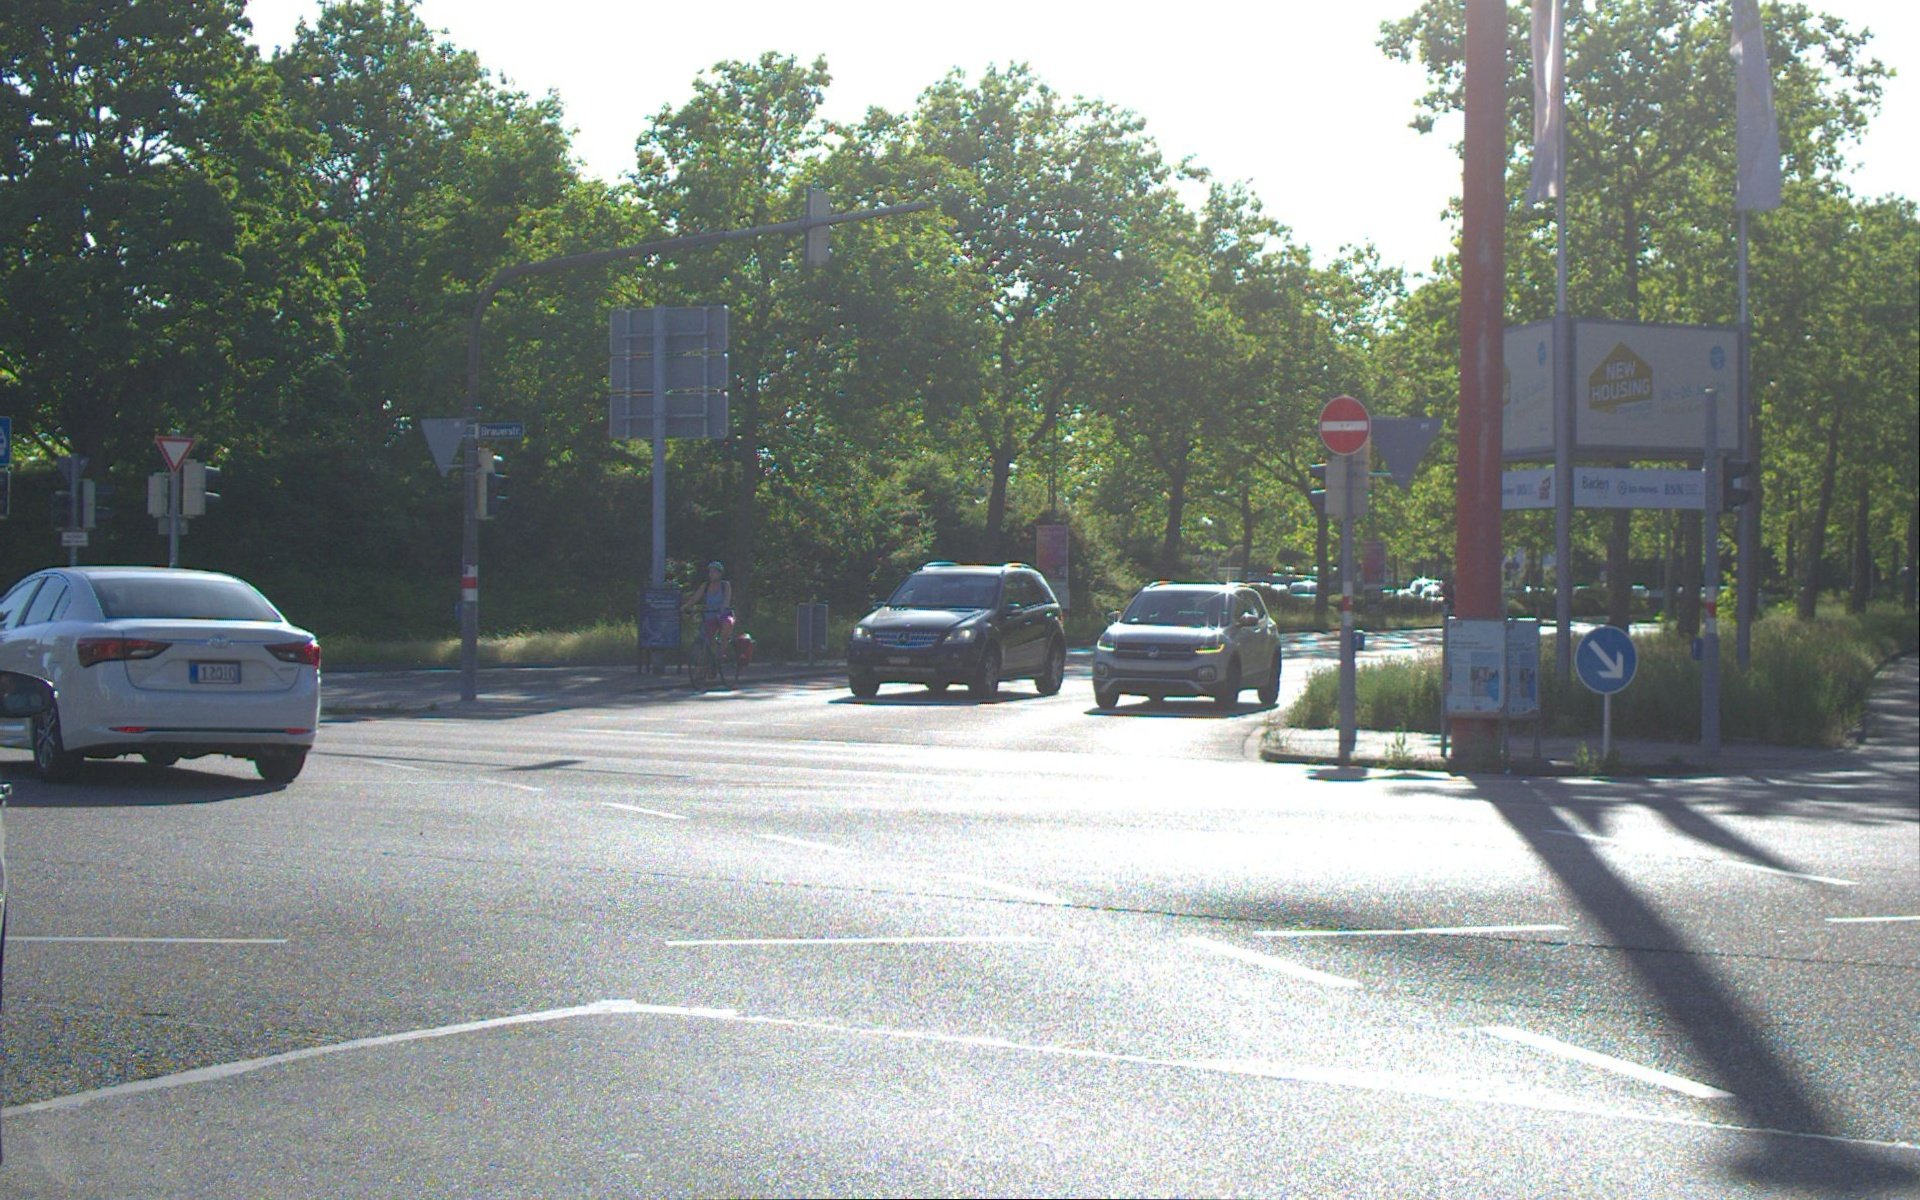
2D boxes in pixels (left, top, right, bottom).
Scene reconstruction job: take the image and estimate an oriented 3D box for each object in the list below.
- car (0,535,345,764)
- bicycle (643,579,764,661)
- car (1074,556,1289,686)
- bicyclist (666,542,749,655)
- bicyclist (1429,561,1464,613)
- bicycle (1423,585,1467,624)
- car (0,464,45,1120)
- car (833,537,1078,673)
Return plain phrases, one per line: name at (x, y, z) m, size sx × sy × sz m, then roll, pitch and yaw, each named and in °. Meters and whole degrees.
car at (-5.962, 0.289, 24.331) m, size 1.767 × 1.459 × 4.366 m, roll 1°, pitch 1°, yaw -30°
bicycle at (-3.549, 0.262, 47.707) m, size 0.765 × 1.087 × 2.012 m, roll 1°, pitch 1°, yaw 26°
car at (2.872, 0.238, 43.838) m, size 1.769 × 1.533 × 4.088 m, roll 1°, pitch 1°, yaw 18°
bicyclist at (-3.508, -0.033, 47.774) m, size 0.760 × 1.552 × 0.980 m, roll 1°, pitch 1°, yaw 26°
bicyclist at (13.630, -0.361, 96.295) m, size 0.736 × 1.431 × 0.964 m, roll 1°, pitch 0°, yaw 22°
bicycle at (13.584, 0.120, 96.197) m, size 0.736 × 1.088 × 2.013 m, roll 1°, pitch 0°, yaw 22°
car at (-3.419, 0.468, 9.108) m, size 1.767 × 1.638 × 4.925 m, roll 1°, pitch 1°, yaw -13°
car at (0.004, 0.050, 46.778) m, size 1.904 × 1.720 × 4.649 m, roll 1°, pitch 1°, yaw 19°
